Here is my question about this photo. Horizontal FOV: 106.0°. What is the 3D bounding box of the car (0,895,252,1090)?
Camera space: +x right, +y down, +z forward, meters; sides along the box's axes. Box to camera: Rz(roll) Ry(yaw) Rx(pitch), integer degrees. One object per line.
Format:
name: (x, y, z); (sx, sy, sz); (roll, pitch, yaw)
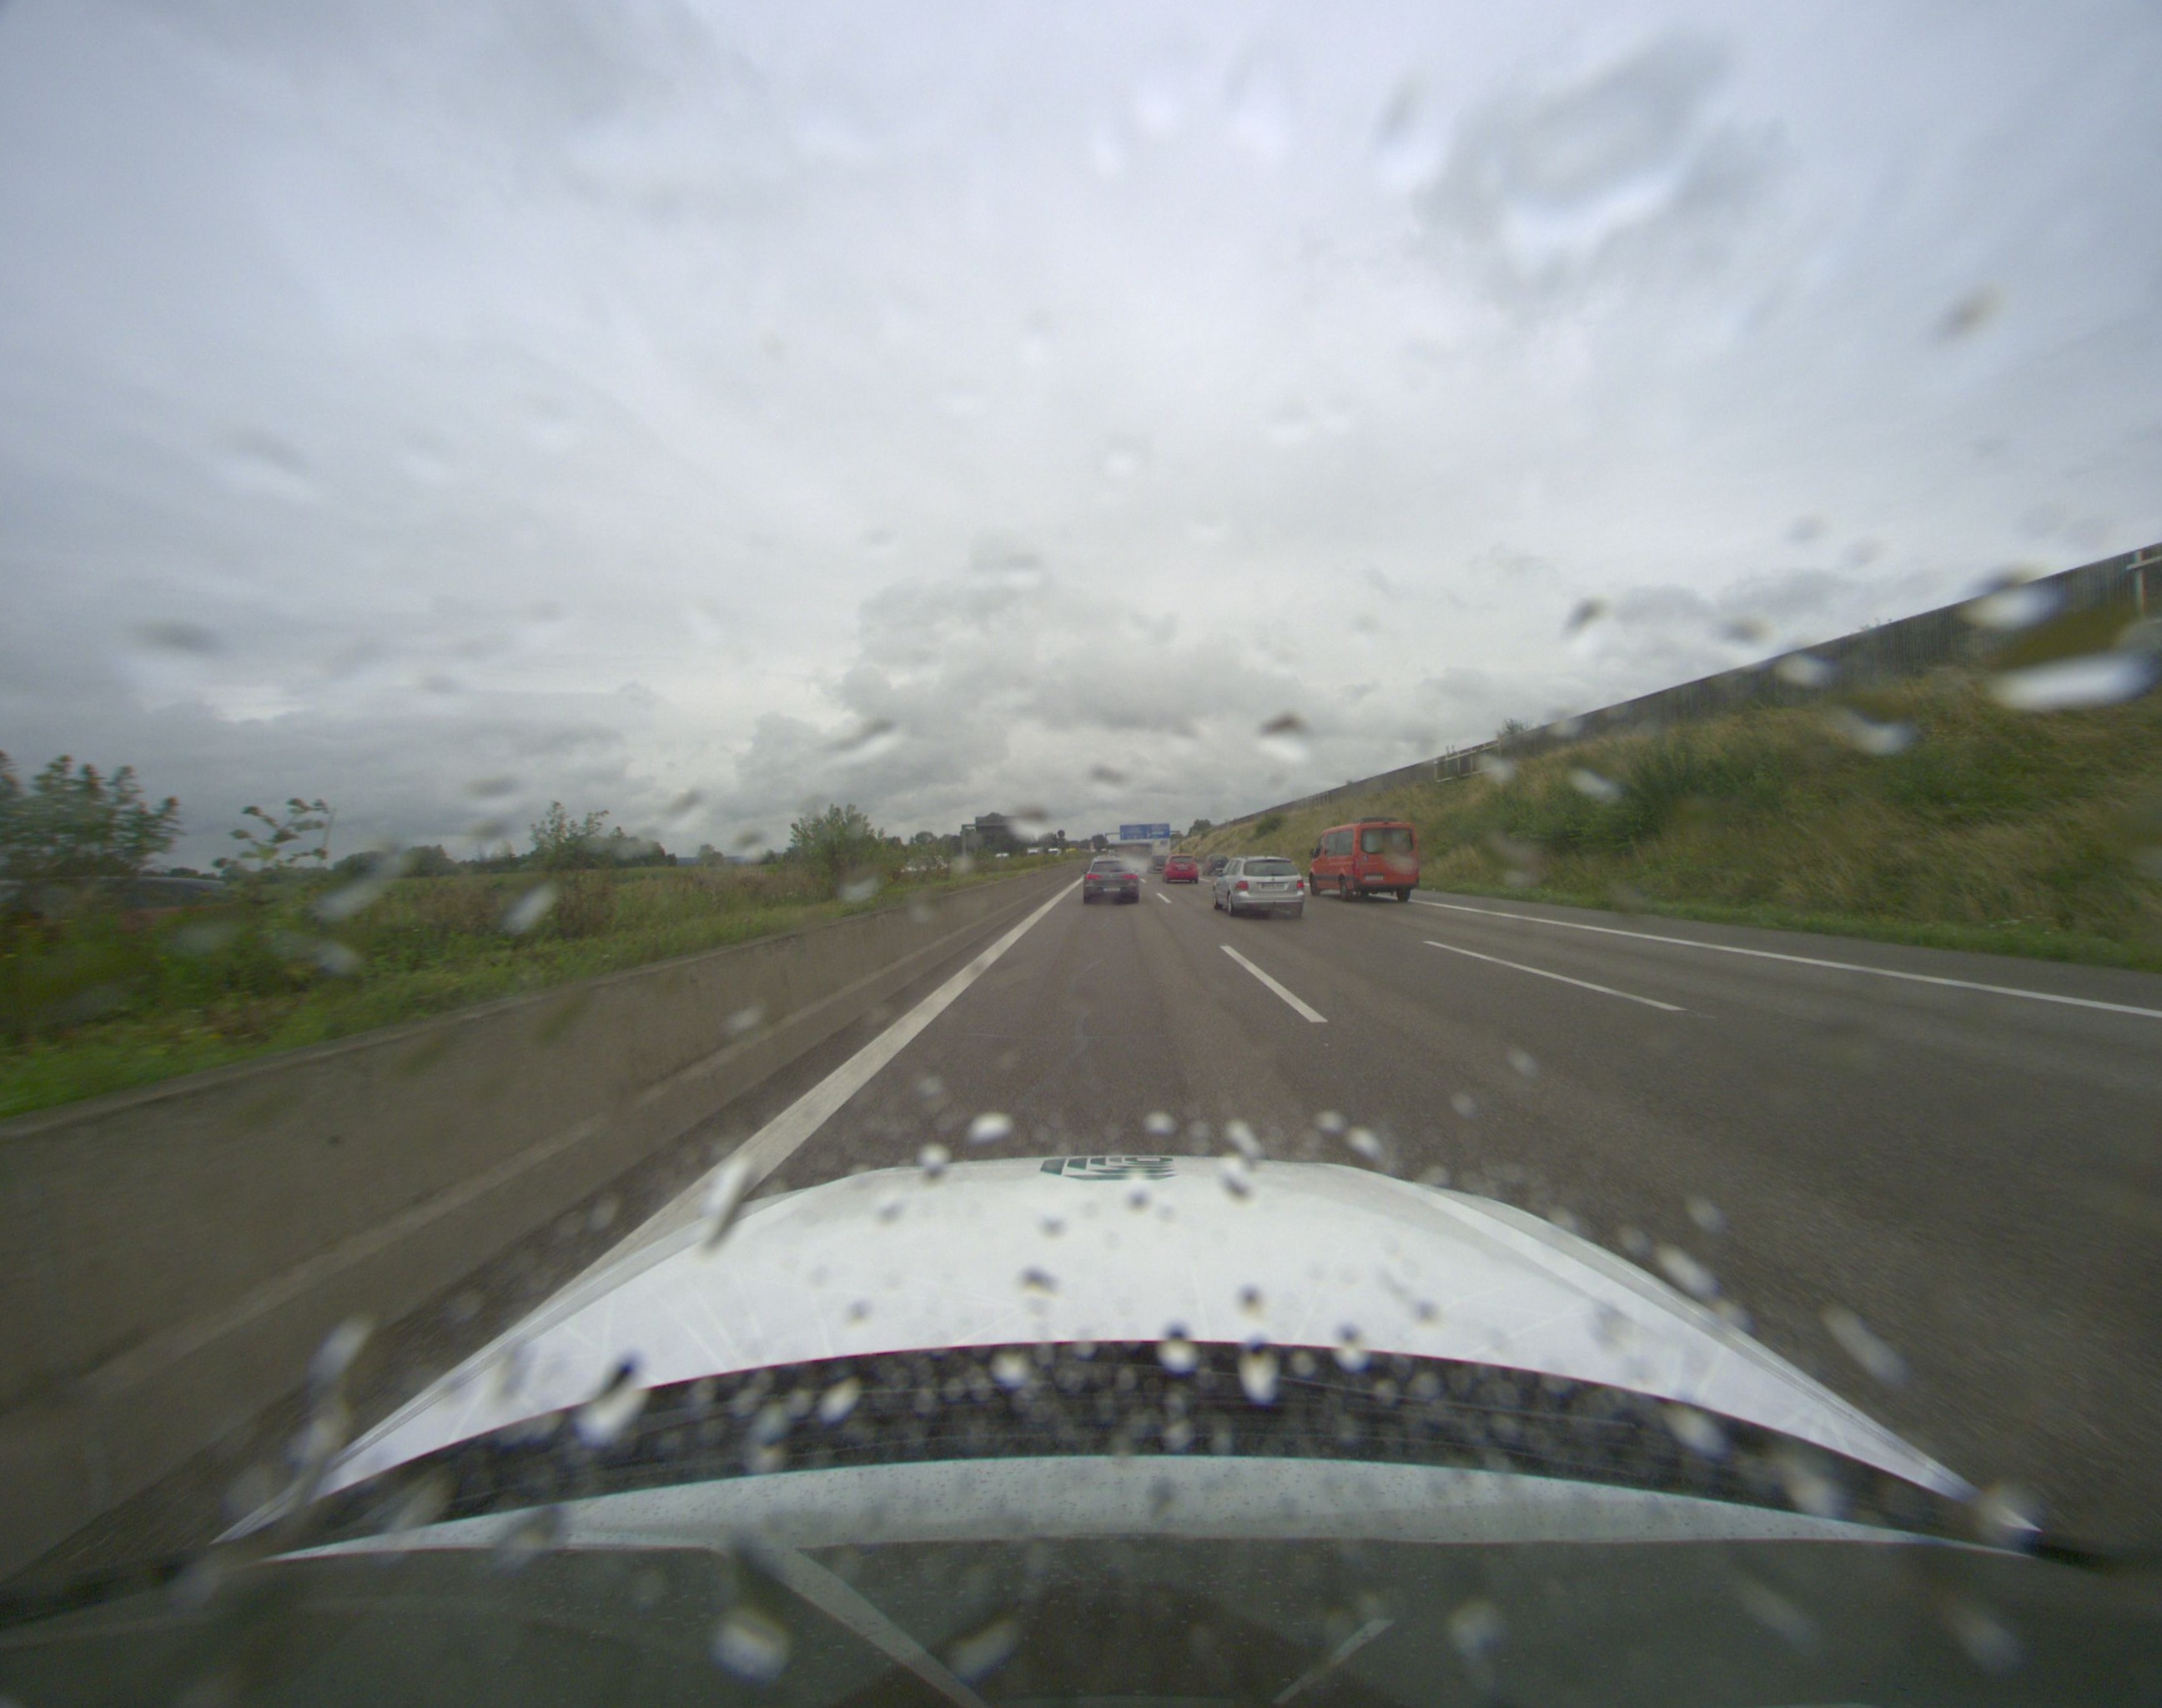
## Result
car: (-12.763, 1.626, 9.578); (1.785, 2.013, 4.002); (-3, 0, 2)

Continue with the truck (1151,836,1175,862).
truck: (14.350, -0.779, 144.216); (3.270, 4.295, 19.046); (-1, 0, 3)

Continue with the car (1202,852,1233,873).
car: (9.268, 0.562, 55.660); (1.695, 1.401, 3.879); (-1, 0, 3)

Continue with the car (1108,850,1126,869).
car: (3.596, 0.534, 82.018); (1.698, 1.796, 3.857); (-3, 0, 2)

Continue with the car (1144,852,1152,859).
car: (18.152, 0.386, 221.474); (1.986, 1.860, 4.392); (-2, 0, 1)

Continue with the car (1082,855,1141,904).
car: (0.990, 0.778, 26.329); (1.761, 1.467, 4.002); (-1, 0, 2)

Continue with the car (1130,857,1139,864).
car: (10.848, 1.313, 165.699); (1.745, 1.517, 4.001); (-2, 0, 1)

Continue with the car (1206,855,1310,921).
car: (4.334, 0.776, 20.640); (1.735, 1.425, 4.518); (-2, 0, 2)

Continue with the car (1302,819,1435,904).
car: (8.881, 0.193, 25.889); (2.078, 2.315, 6.182); (-2, 0, 1)

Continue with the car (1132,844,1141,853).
car: (14.229, -1.364, 208.075); (1.987, 2.013, 4.000); (-2, 0, 1)

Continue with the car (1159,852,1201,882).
car: (5.232, 0.665, 43.437); (1.883, 1.446, 4.688); (-2, 0, 3)

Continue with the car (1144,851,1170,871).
car: (6.044, 0.548, 65.195); (1.913, 1.522, 4.626); (-2, 0, 3)

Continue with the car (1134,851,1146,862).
car: (9.232, 0.431, 127.920); (1.838, 1.687, 4.002); (-1, 0, 2)

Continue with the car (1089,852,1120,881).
car: (1.502, 0.758, 50.557); (1.747, 1.750, 4.003); (-1, 0, 3)
